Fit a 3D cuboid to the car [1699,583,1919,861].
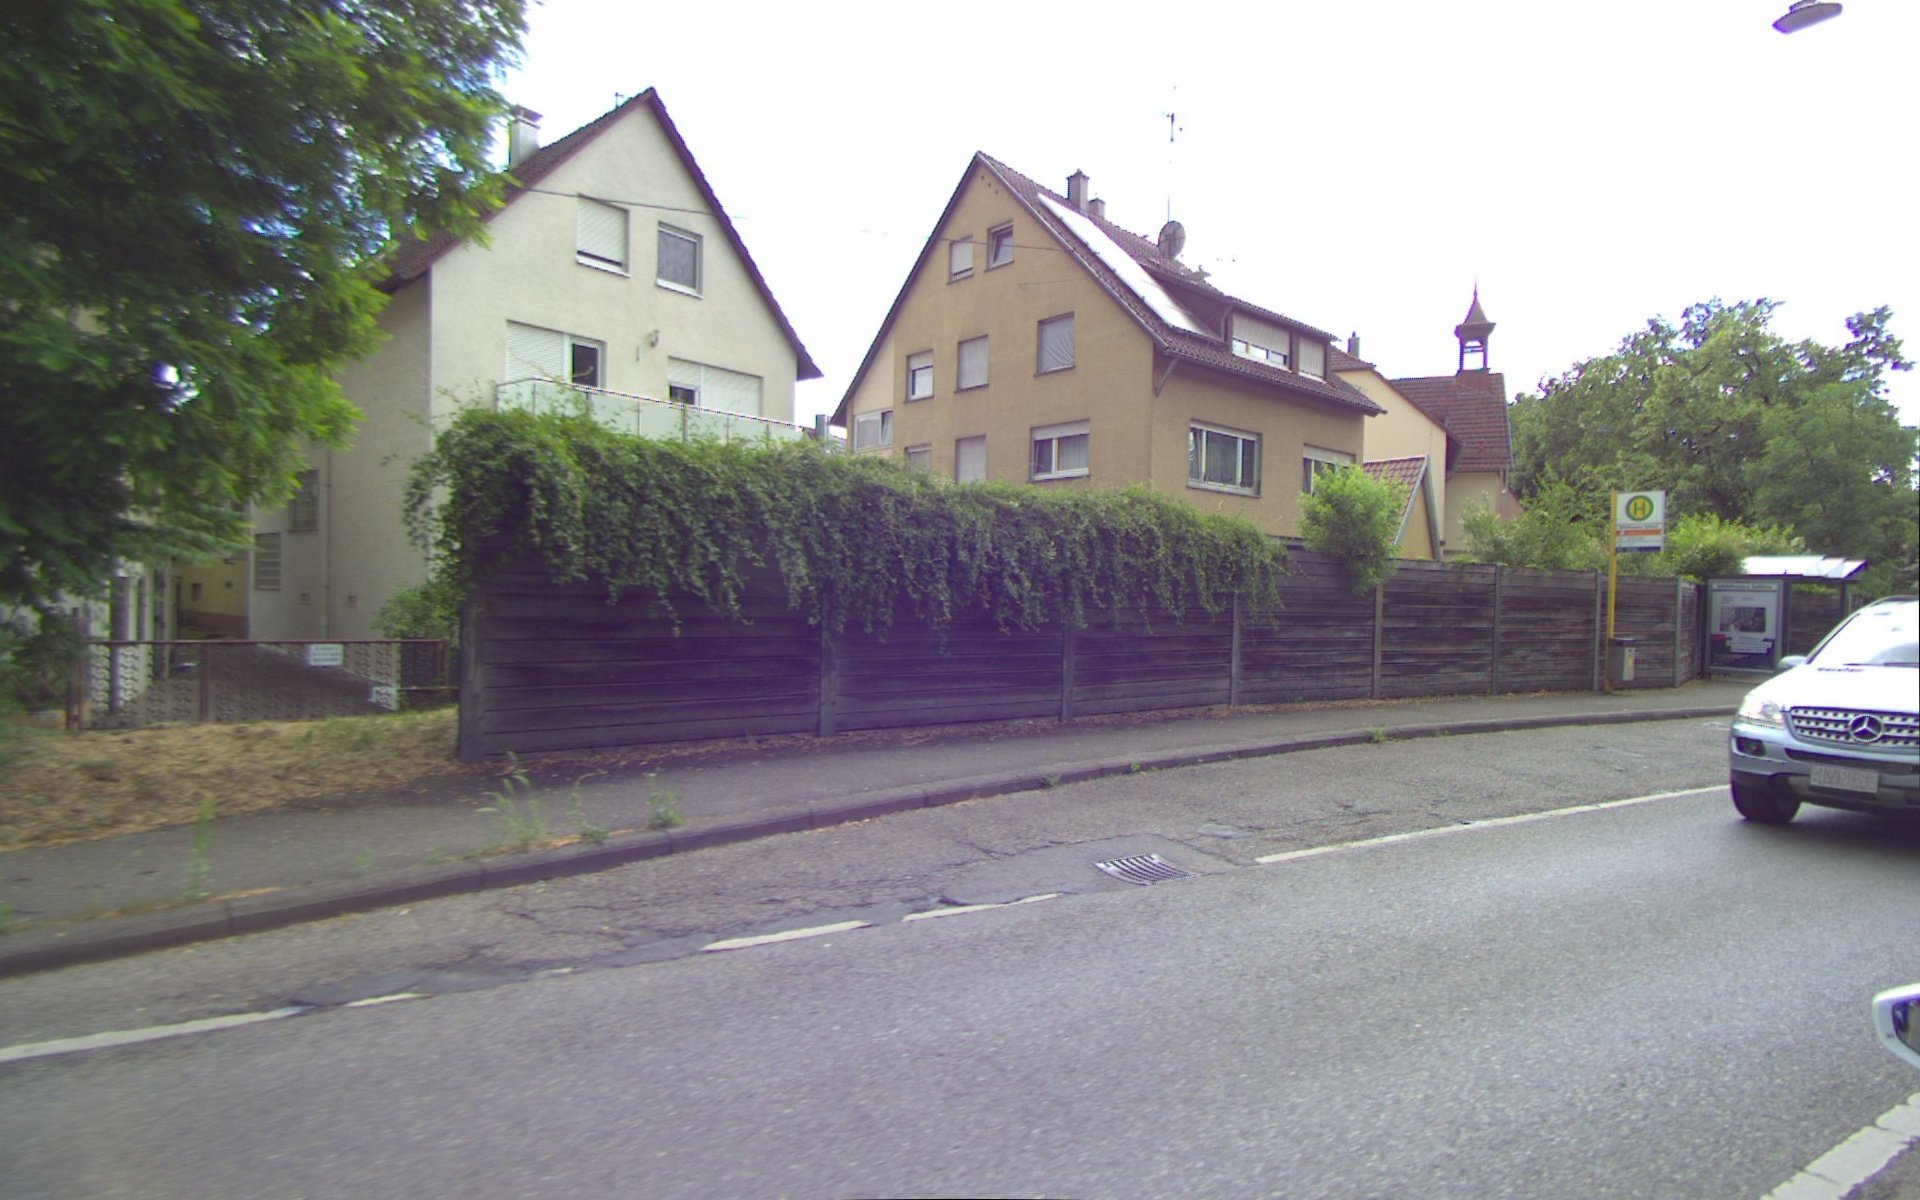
[{"bbox_3d":[7.880,0.817,7.768,4.640,1.747,1.925,1,-1,-32],"label":"car"}]
